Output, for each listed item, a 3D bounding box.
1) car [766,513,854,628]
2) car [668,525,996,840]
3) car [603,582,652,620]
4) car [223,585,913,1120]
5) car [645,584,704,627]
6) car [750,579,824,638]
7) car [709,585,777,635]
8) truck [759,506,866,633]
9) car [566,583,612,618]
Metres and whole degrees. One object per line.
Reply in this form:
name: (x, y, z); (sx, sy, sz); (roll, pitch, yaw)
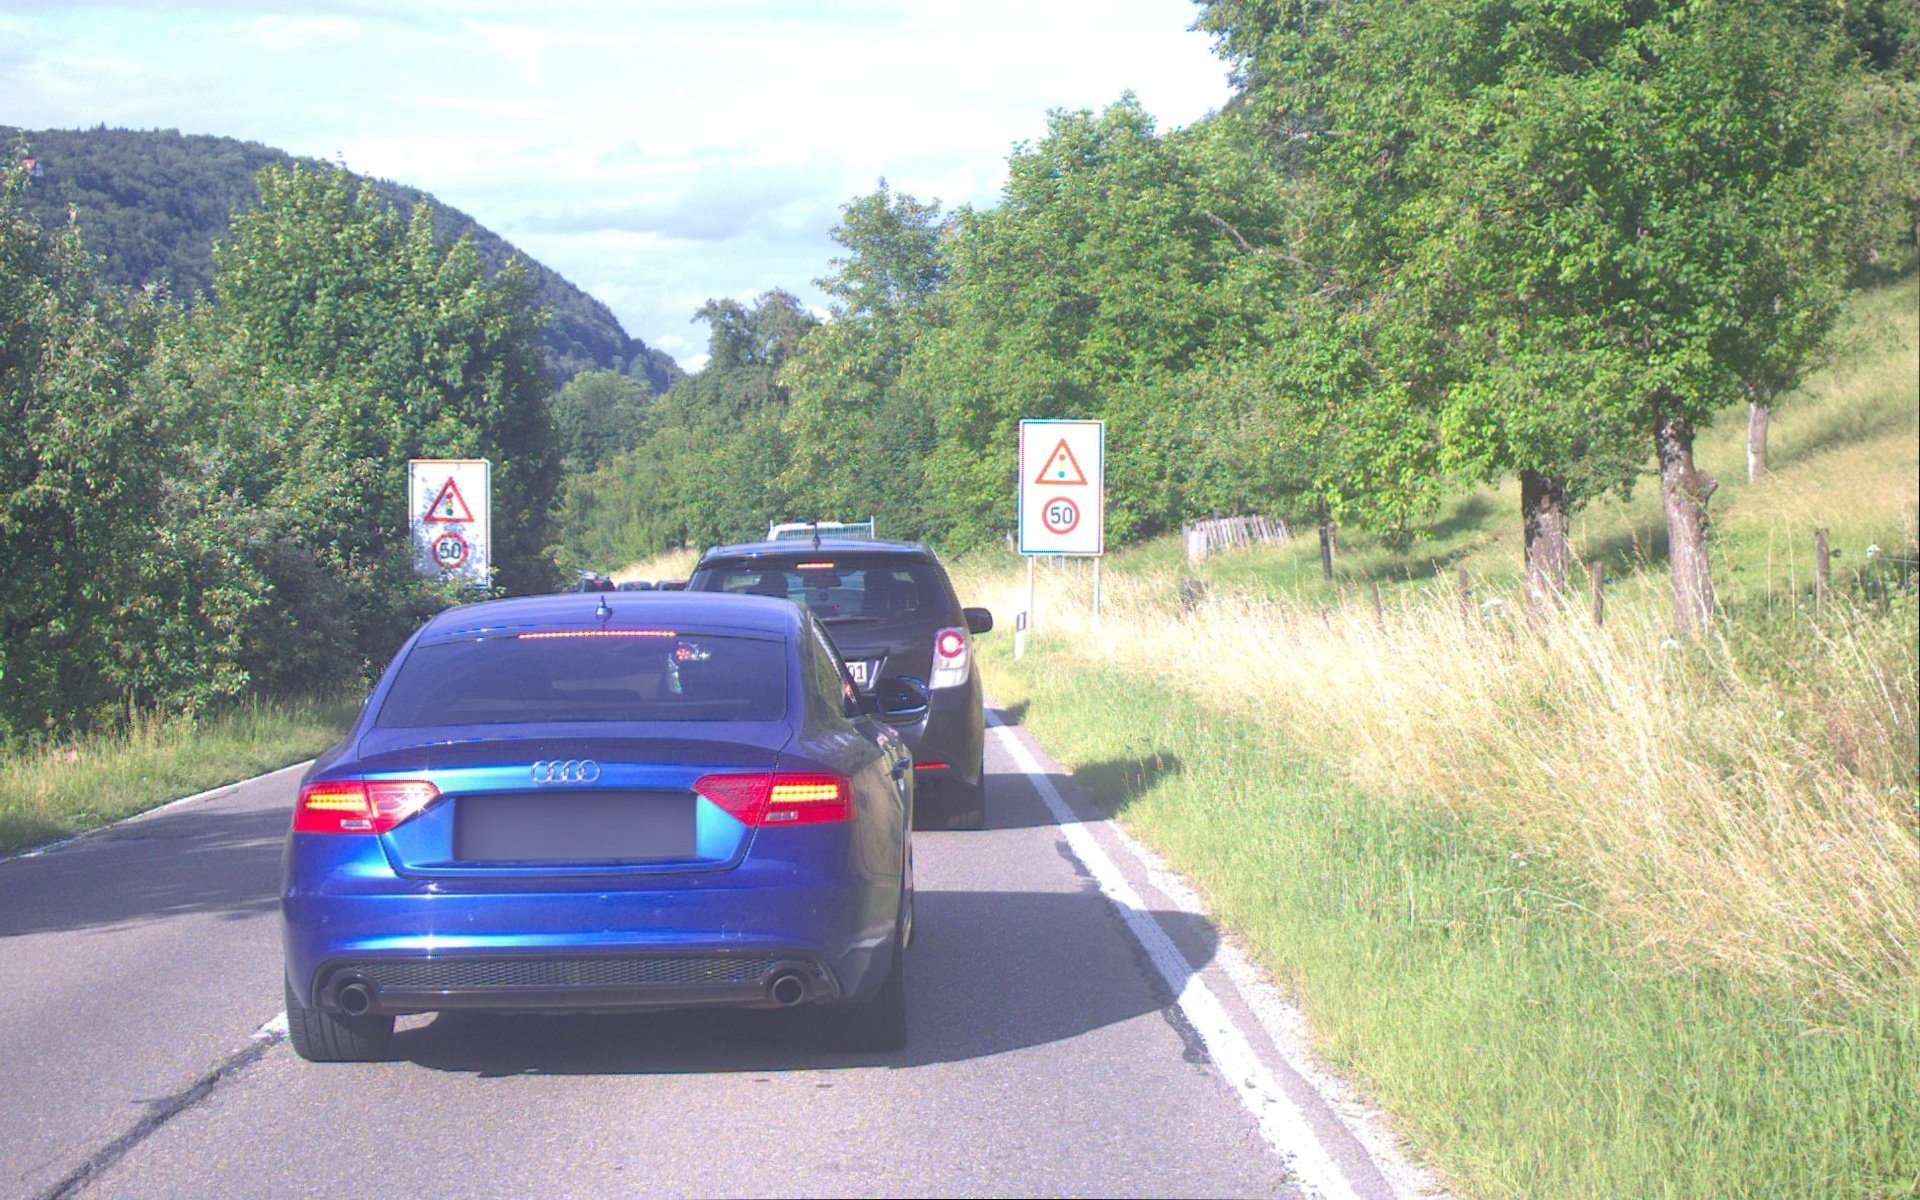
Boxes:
car: (-3.399, -0.675, 77.311); (1.792, 2.445, 3.920); (2, 1, -4)
car: (-0.711, 0.398, 19.810); (1.692, 1.618, 3.789); (1, 1, -1)
car: (-13.893, 0.028, 143.589); (1.558, 1.490, 3.779); (2, 1, -12)
car: (-1.064, 0.657, 11.178); (1.805, 1.377, 4.215); (-1, 0, -1)
car: (-10.993, 0.195, 132.118); (1.747, 1.490, 3.779); (2, 1, -12)
car: (-4.841, 0.219, 95.617); (1.747, 1.490, 3.779); (2, 1, -7)
car: (-7.036, 0.301, 111.281); (1.747, 1.490, 3.779); (2, 1, -10)
truck: (-2.894, -0.607, 67.804); (1.950, 2.337, 5.094); (2, 1, -2)
car: (-16.755, 0.017, 155.110); (1.558, 1.490, 3.779); (2, 1, -13)
